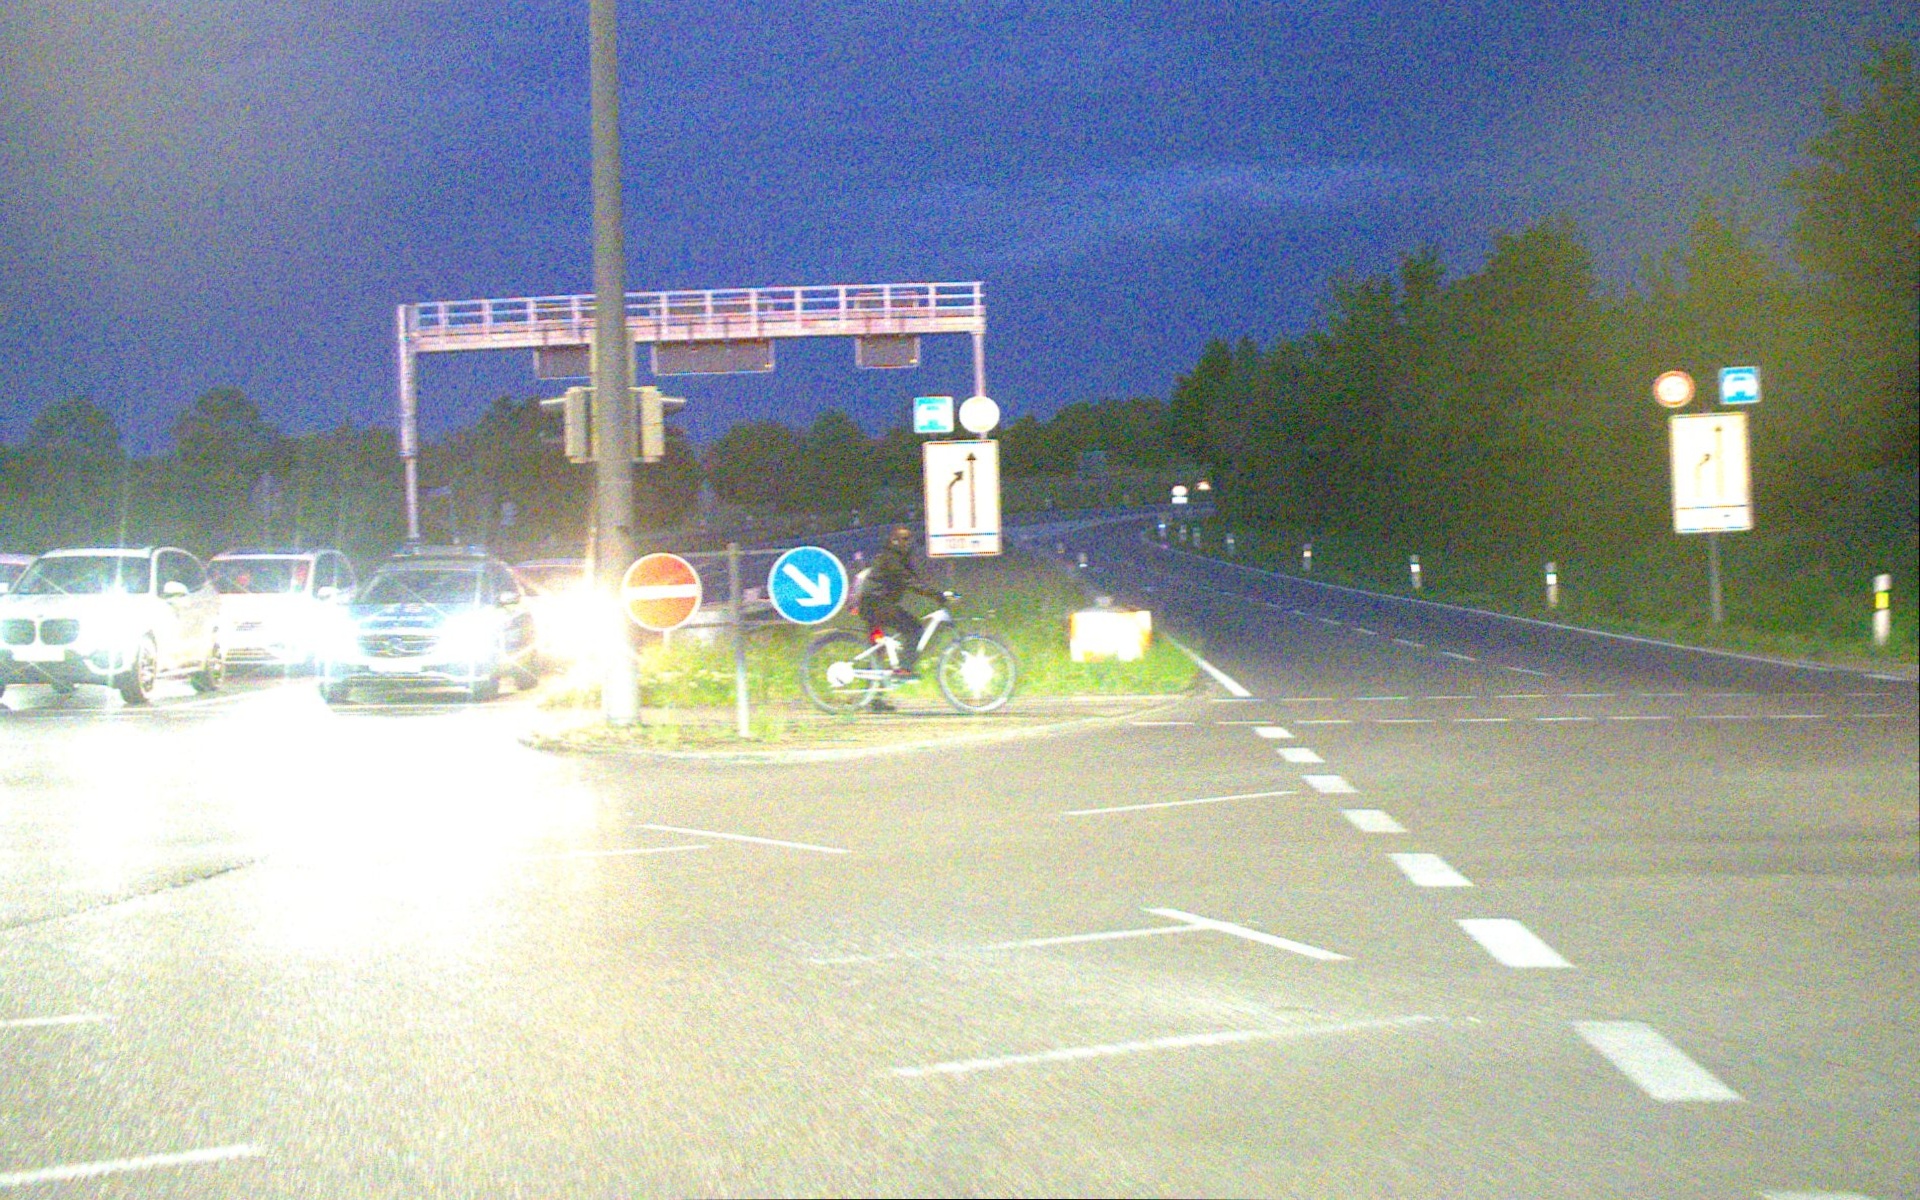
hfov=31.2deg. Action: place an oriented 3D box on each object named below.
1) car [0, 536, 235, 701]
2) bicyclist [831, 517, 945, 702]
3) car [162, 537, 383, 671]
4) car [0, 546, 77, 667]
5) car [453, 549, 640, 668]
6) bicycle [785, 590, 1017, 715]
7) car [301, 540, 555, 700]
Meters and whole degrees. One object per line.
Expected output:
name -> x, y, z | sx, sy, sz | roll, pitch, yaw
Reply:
car -> -9.413, 0.144, 37.353 | 1.908, 1.676, 4.420 | 0, 1, 3
bicyclist -> -0.656, 0.082, 31.050 | 0.997, 1.645, 0.604 | 0, 0, -3
car -> -8.843, 0.012, 44.542 | 1.746, 1.621, 4.362 | 0, 1, 3
car -> -12.977, 0.080, 44.607 | 1.832, 1.519, 4.000 | -1, 1, 3
car -> -5.388, 0.074, 45.220 | 1.773, 1.476, 3.910 | 0, 1, 4
bicycle -> -0.539, 0.465, 31.045 | 2.061, 1.097, 0.695 | 0, 0, -3
car -> -5.742, 0.168, 37.640 | 1.852, 1.627, 4.585 | 0, 1, 3
